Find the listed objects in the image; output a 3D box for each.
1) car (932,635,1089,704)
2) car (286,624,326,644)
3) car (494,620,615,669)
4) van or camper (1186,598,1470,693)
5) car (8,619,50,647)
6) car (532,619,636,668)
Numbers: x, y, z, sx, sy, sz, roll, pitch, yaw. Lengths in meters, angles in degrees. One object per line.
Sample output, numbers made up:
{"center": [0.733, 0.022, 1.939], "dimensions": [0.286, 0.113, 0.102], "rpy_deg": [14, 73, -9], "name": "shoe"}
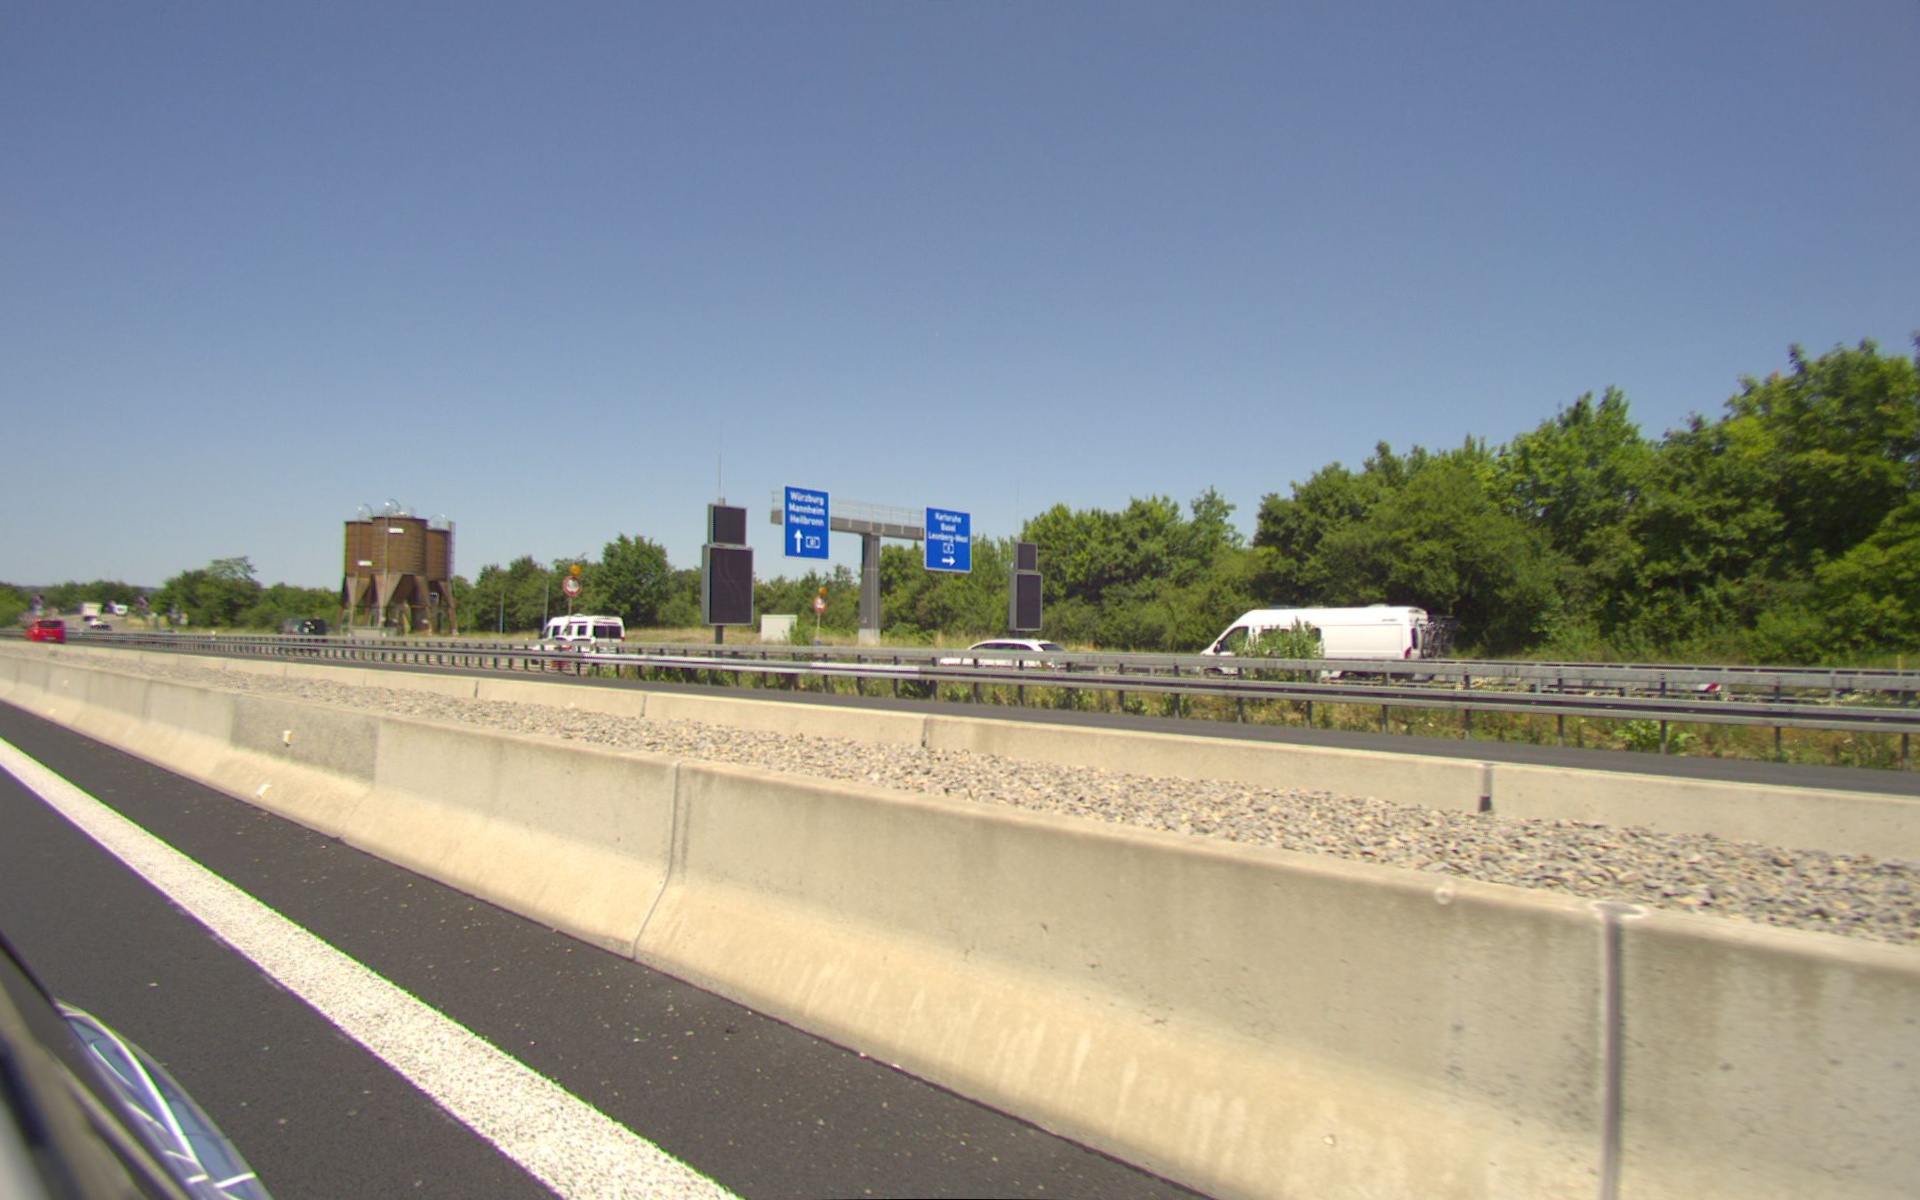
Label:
{"center": [1.422, 1.980, 29.802], "dimensions": [4.450, 1.741, 1.776], "rpy_deg": [-1, 0, 40], "name": "car"}
{"center": [-54.598, 2.837, 84.476], "dimensions": [3.998, 1.522, 1.776], "rpy_deg": [-1, 0, 41], "name": "car"}
{"center": [-19.471, 2.075, 48.410], "dimensions": [6.932, 2.182, 2.469], "rpy_deg": [-1, -3, 41], "name": "car"}
{"center": [9.773, 1.124, 27.452], "dimensions": [6.964, 2.272, 2.085], "rpy_deg": [-1, 0, 41], "name": "van or camper"}
{"center": [-71.286, 2.523, 77.487], "dimensions": [3.998, 2.029, 1.973], "rpy_deg": [-1, 0, 41], "name": "car"}
{"center": [-20.390, 2.352, 54.732], "dimensions": [5.960, 2.521, 2.767], "rpy_deg": [-2, -4, 41], "name": "car"}
